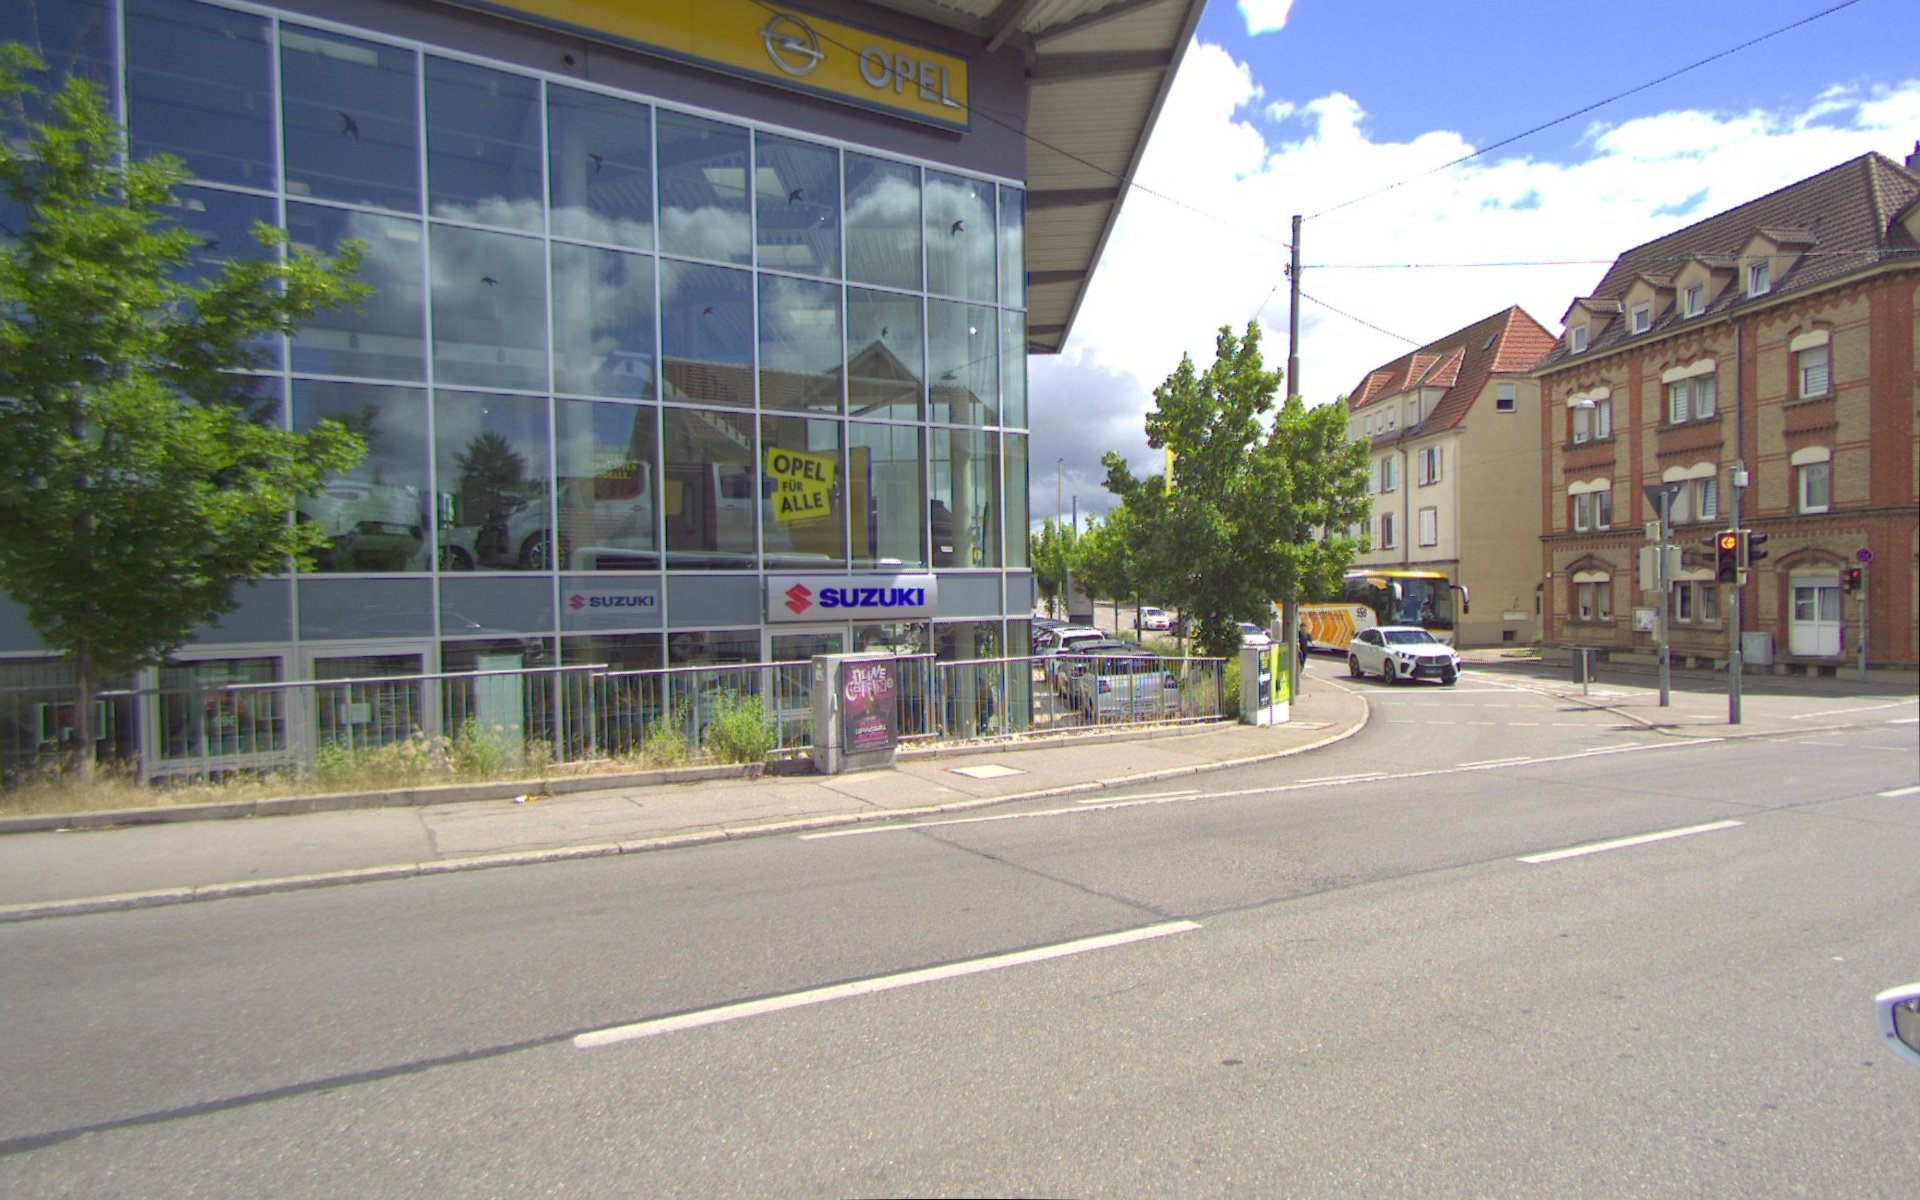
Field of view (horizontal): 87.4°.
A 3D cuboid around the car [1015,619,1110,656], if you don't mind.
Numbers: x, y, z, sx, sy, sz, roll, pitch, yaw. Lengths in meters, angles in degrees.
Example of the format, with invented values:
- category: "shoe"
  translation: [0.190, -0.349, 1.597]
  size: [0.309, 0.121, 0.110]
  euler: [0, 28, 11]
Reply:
- category: "car"
  translation: [4.572, 1.680, 45.013]
  size: [3.925, 1.574, 1.806]
  euler: [1, -1, -7]

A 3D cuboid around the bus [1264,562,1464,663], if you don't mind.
- category: "bus"
  translation: [16.819, 0.552, 43.291]
  size: [2.719, 3.669, 12.256]
  euler: [1, -1, -5]

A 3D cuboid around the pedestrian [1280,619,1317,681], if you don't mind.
- category: "pedestrian"
  translation: [9.944, 1.454, 29.526]
  size: [0.744, 1.757, 1.145]
  euler: [1, -1, 2]

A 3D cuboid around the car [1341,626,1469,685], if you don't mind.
- category: "car"
  translation: [12.885, 1.604, 29.377]
  size: [1.797, 1.572, 4.307]
  euler: [0, -3, 0]

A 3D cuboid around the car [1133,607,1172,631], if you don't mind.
- category: "car"
  translation: [13.669, 1.357, 71.489]
  size: [1.874, 1.574, 3.999]
  euler: [1, -1, -2]

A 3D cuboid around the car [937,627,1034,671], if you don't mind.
- category: "car"
  translation: [0.915, 1.777, 36.943]
  size: [3.432, 1.467, 1.799]
  euler: [-1, 0, -3]

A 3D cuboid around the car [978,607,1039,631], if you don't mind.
- category: "car"
  translation: [3.219, 1.270, 67.450]
  size: [3.922, 1.574, 1.807]
  euler: [1, -1, -1]

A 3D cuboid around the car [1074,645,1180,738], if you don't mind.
- category: "car"
  translation: [3.301, 1.783, 20.414]
  size: [1.648, 1.582, 3.365]
  euler: [-1, 0, 1]

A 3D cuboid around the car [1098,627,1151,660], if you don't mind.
- category: "car"
  translation: [7.963, 2.081, 48.857]
  size: [1.766, 1.467, 3.498]
  euler: [1, -1, -5]

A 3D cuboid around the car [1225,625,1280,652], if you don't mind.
- category: "car"
  translation: [16.205, 2.120, 55.869]
  size: [1.717, 1.428, 3.999]
  euler: [1, -1, -3]

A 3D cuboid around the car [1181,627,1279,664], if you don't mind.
- category: "car"
  translation: [11.420, 1.912, 42.602]
  size: [3.572, 1.437, 1.872]
  euler: [0, -2, 45]

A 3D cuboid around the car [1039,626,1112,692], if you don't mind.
- category: "car"
  translation: [3.309, 1.656, 29.222]
  size: [1.620, 1.703, 3.499]
  euler: [-1, 0, -2]

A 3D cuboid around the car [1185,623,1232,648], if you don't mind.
- category: "car"
  translation: [15.610, 2.219, 63.278]
  size: [1.874, 1.428, 3.999]
  euler: [1, -1, -2]

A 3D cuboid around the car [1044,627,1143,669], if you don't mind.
- category: "car"
  translation: [4.926, 1.763, 37.401]
  size: [3.430, 1.497, 1.800]
  euler: [1, -1, 1]

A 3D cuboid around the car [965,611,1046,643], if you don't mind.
- category: "car"
  translation: [2.363, 1.411, 52.794]
  size: [3.930, 1.574, 1.804]
  euler: [1, -1, -12]

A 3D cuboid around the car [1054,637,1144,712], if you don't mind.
- category: "car"
  translation: [3.323, 1.763, 24.580]
  size: [1.584, 1.547, 3.499]
  euler: [-1, 0, -2]
